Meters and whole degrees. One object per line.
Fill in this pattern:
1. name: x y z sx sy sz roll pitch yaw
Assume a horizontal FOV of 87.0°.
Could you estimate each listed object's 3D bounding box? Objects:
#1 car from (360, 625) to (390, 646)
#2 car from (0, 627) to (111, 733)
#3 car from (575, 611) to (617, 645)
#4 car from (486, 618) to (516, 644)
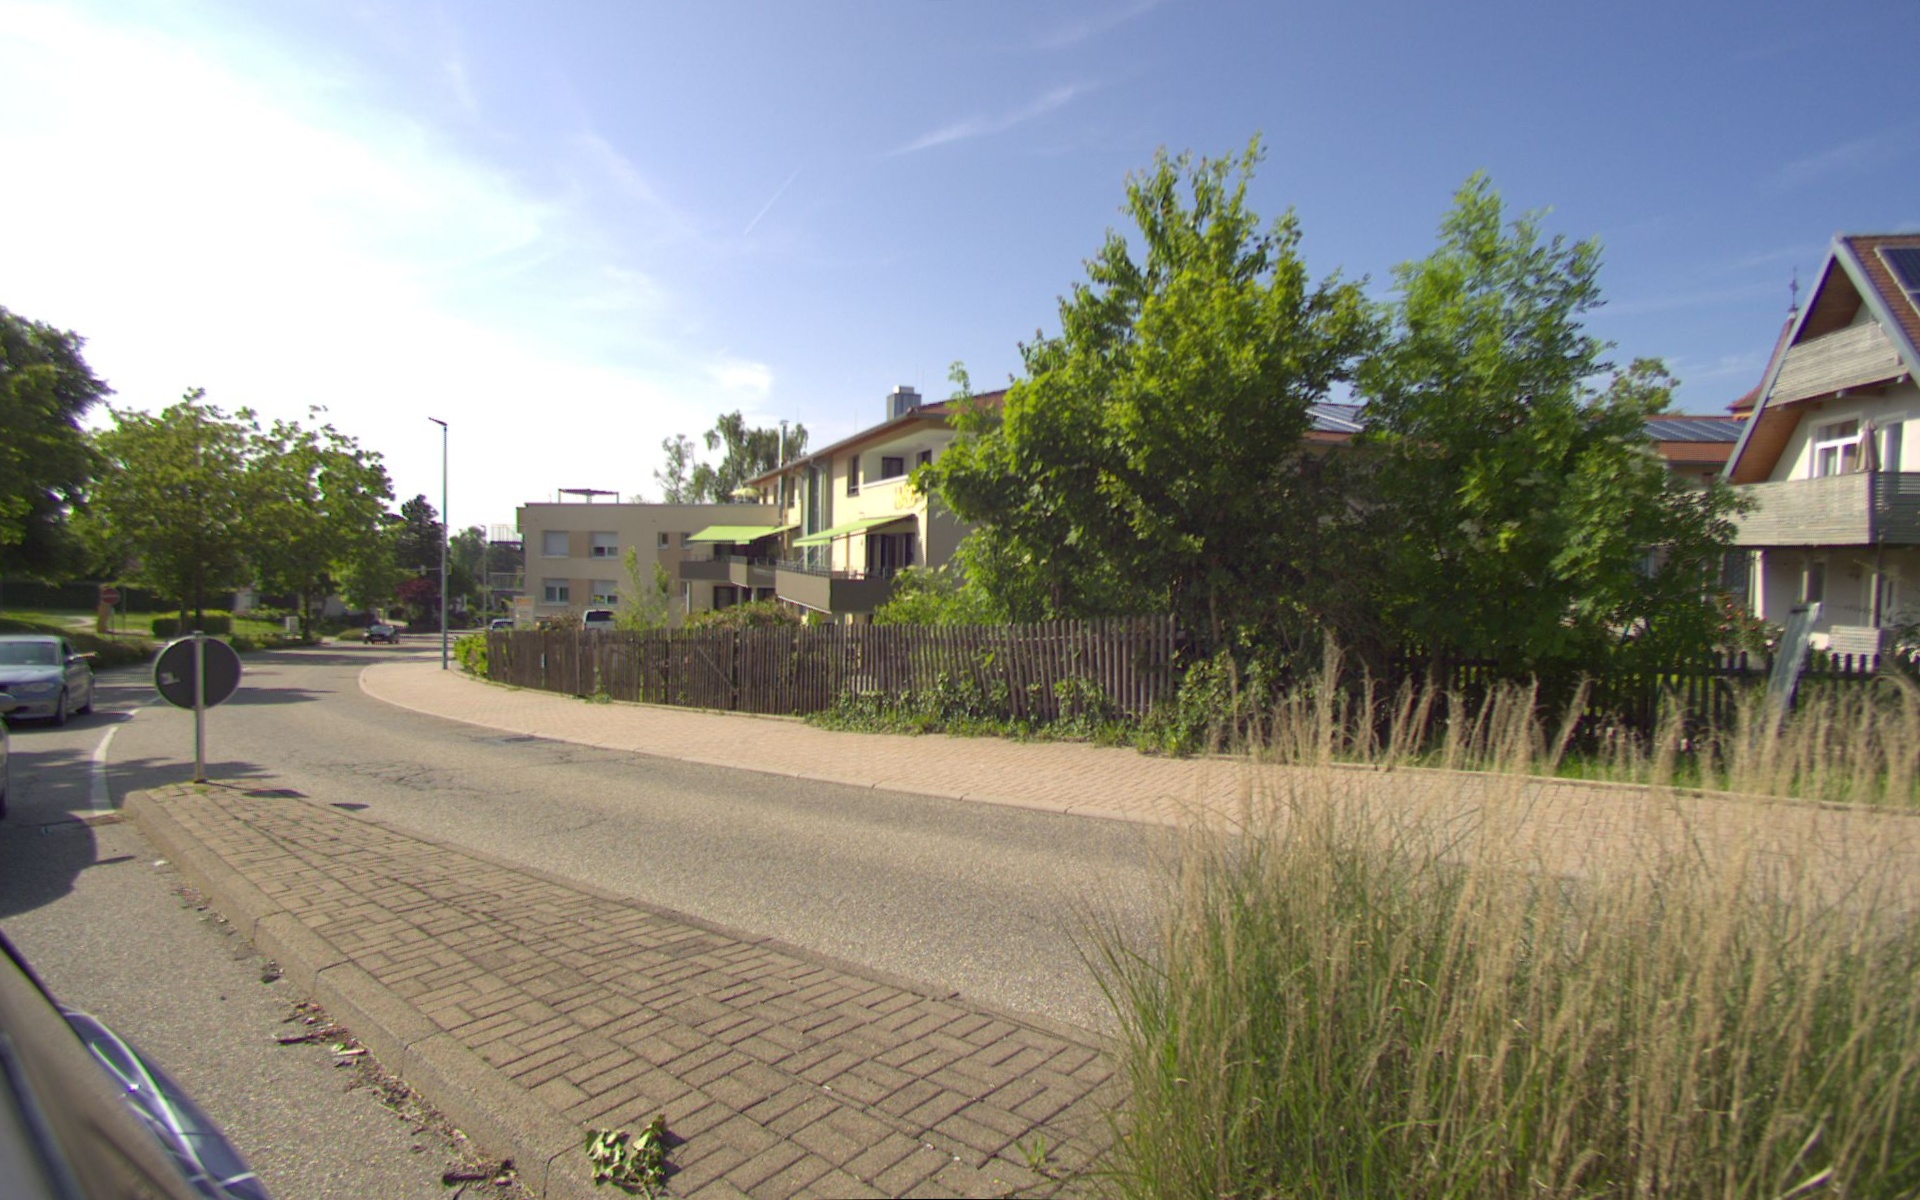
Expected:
1. car: -39.178 2.373 67.774 1.454 1.375 2.811 2 -2 -25
2. car: -15.392 1.226 16.477 1.872 1.519 4.011 3 -3 -33
3. car: -20.487 1.574 56.943 1.532 1.813 3.465 3 -3 -31
4. car: -26.738 1.780 58.904 1.331 1.408 3.323 -1 0 -29
